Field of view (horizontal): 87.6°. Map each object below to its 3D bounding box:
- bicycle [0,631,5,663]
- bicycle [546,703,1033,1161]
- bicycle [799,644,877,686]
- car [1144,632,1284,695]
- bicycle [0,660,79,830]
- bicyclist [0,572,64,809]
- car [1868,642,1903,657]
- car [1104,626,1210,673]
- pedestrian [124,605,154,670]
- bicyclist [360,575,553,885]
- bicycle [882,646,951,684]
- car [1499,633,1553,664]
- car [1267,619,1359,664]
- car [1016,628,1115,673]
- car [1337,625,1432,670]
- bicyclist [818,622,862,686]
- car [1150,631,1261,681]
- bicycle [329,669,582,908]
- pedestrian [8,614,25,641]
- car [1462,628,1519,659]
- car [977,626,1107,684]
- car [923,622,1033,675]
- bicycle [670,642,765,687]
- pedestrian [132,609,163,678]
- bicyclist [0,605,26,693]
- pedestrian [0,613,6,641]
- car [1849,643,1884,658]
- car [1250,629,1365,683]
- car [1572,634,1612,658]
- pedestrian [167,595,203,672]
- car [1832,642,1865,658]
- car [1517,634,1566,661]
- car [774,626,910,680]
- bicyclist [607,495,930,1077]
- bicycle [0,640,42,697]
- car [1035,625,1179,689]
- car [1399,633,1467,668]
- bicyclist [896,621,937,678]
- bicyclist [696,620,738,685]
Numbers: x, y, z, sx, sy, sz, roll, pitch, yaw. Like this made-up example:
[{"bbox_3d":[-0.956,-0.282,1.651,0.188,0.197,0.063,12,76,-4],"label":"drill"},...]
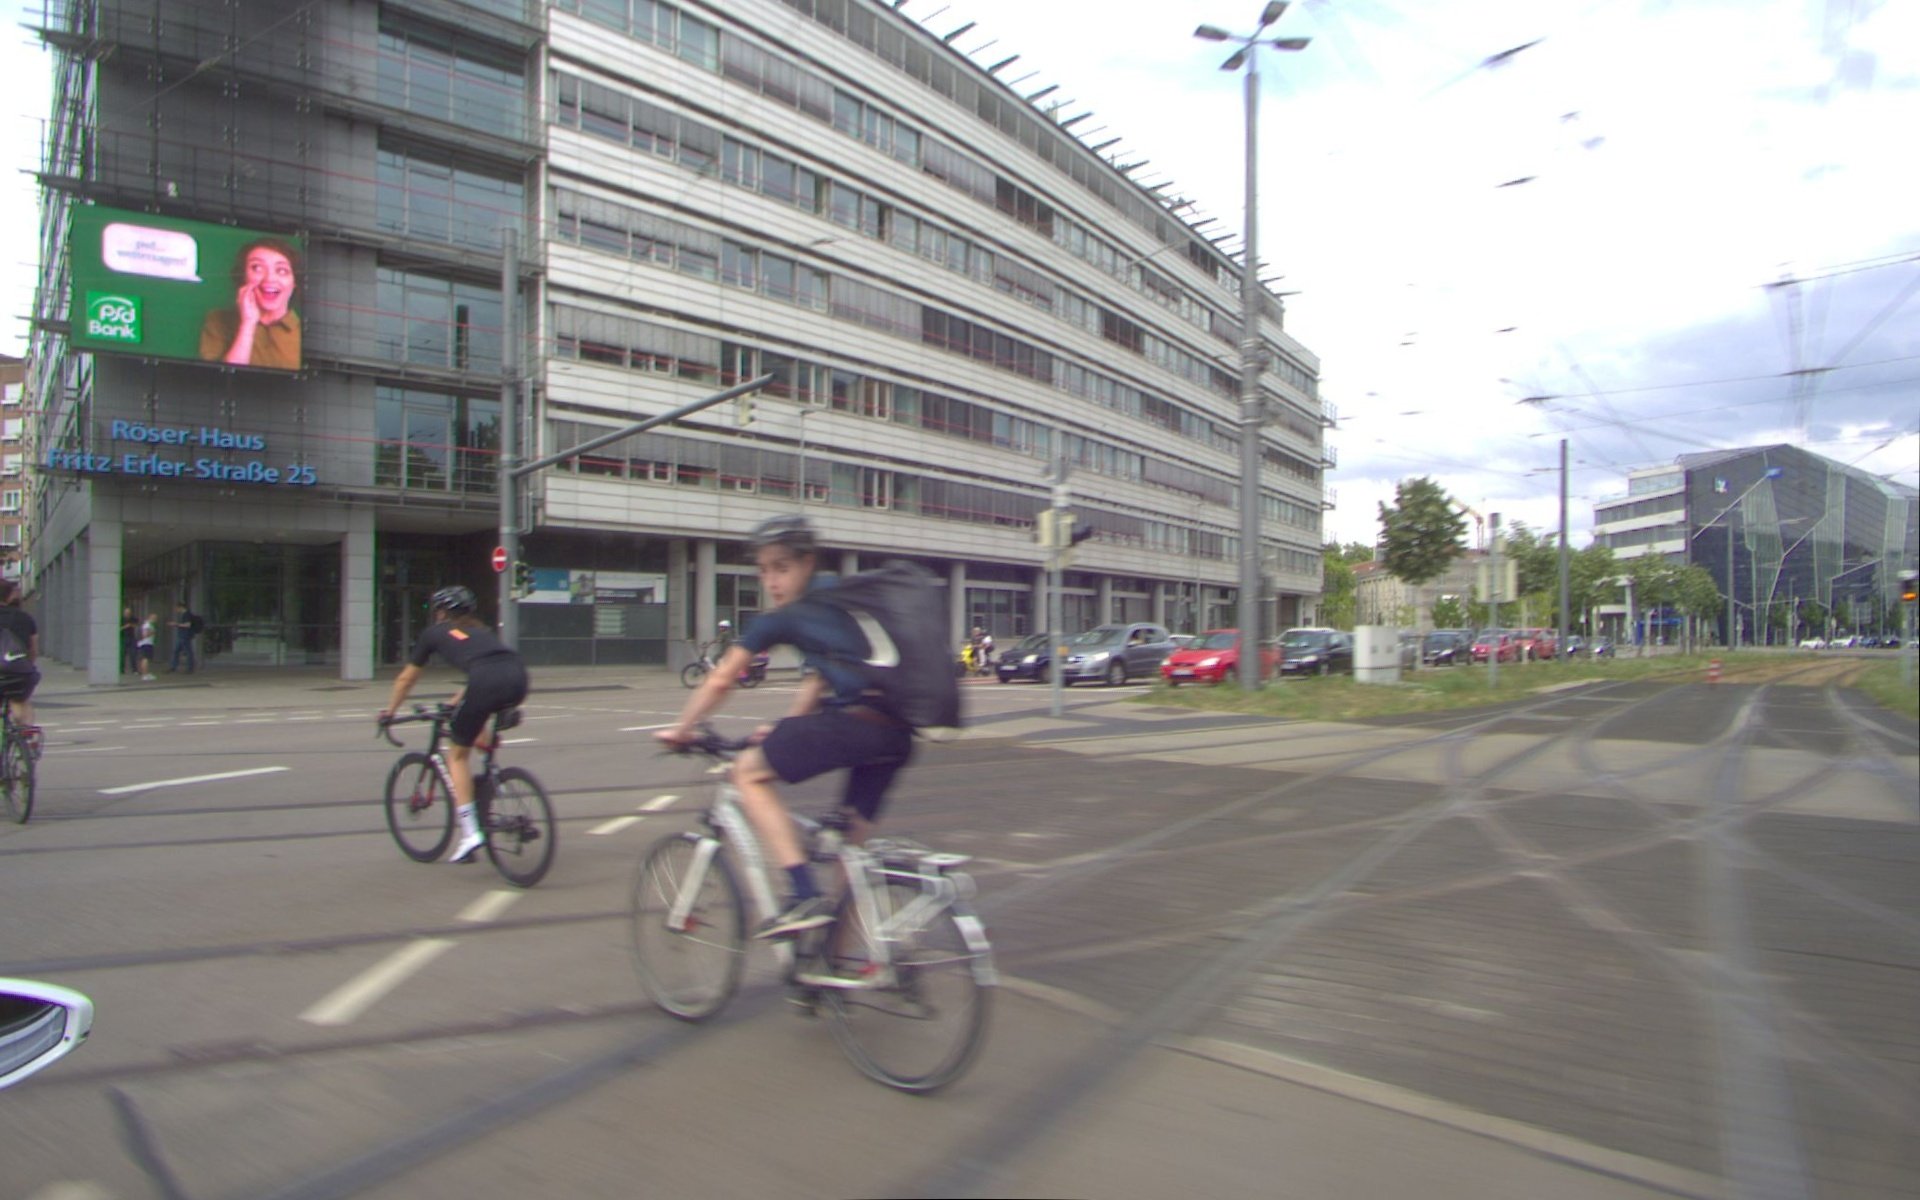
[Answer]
[{"bbox_3d":[-31.242,1.493,31.601,0.416,1.000,1.556,1,0,29],"label":"bicycle"},{"bbox_3d":[-0.682,1.022,3.612,1.833,1.153,0.592,0,0,35],"label":"bicycle"},{"bbox_3d":[-3.290,1.752,27.206,0.676,1.070,2.187,0,-2,44],"label":"bicycle"},{"bbox_3d":[6.477,1.557,25.310,1.803,1.451,3.968,-2,-3,42],"label":"car"},{"bbox_3d":[-7.755,1.100,7.997,2.062,1.153,0.592,0,0,35],"label":"bicycle"},{"bbox_3d":[-7.635,0.685,7.916,1.021,1.791,0.588,1,0,34],"label":"bicyclist"},{"bbox_3d":[114.134,6.065,123.473,4.105,1.772,1.990,2,-1,-30],"label":"car"},{"bbox_3d":[6.803,1.676,34.293,1.803,1.479,3.968,-2,-3,42],"label":"car"},{"bbox_3d":[-22.438,1.023,27.357,0.637,1.749,0.542,2,1,45],"label":"pedestrian"},{"bbox_3d":[-2.989,0.706,5.936,1.021,1.675,0.588,1,0,34],"label":"bicyclist"},{"bbox_3d":[-1.298,1.947,30.216,0.742,1.069,2.202,-3,-3,43],"label":"bicycle"},{"bbox_3d":[32.159,2.718,56.851,1.803,1.688,4.375,-2,-3,42],"label":"car"},{"bbox_3d":[12.949,1.515,36.632,1.803,1.552,3.968,-2,-3,42],"label":"car"},{"bbox_3d":[4.176,1.932,39.188,1.803,1.641,4.134,-1,-2,42],"label":"car"},{"bbox_3d":[14.503,1.597,34.096,1.803,1.451,3.968,-2,-3,42],"label":"car"},{"bbox_3d":[-3.262,1.469,27.248,0.668,1.687,0.972,-2,-3,44],"label":"bicyclist"},{"bbox_3d":[7.831,1.747,31.739,1.803,1.479,3.968,-2,-3,42],"label":"car"},{"bbox_3d":[-3.033,1.035,5.962,1.710,1.153,0.592,0,0,35],"label":"bicycle"},{"bbox_3d":[-53.934,1.570,57.236,0.705,1.576,0.791,1,0,-43],"label":"pedestrian"},{"bbox_3d":[28.149,2.298,53.060,1.803,1.552,3.968,-1,-2,42],"label":"car"},{"bbox_3d":[2.456,1.551,29.247,1.803,1.552,3.968,-1,-2,42],"label":"car"},{"bbox_3d":[0.695,1.701,36.043,1.803,1.784,3.968,-1,-2,42],"label":"car"},{"bbox_3d":[-6.464,1.720,26.808,2.393,1.153,0.661,-1,-2,-8],"label":"bicycle"},{"bbox_3d":[-20.883,1.109,25.737,0.549,1.749,0.492,1,1,-34],"label":"pedestrian"},{"bbox_3d":[-19.947,0.997,20.670,0.905,1.787,0.714,1,0,-39],"label":"bicyclist"},{"bbox_3d":[-54.402,1.504,56.716,0.508,1.576,0.468,1,0,-43],"label":"pedestrian"},{"bbox_3d":[109.465,6.122,120.850,4.105,1.772,1.990,2,-1,-30],"label":"car"},{"bbox_3d":[10.239,1.607,29.349,1.803,1.451,3.968,-2,-3,42],"label":"car"},{"bbox_3d":[43.390,3.144,68.681,1.690,1.552,3.968,-2,-3,42],"label":"car"},{"bbox_3d":[-21.159,0.910,27.335,0.667,2.041,0.599,4,2,40],"label":"pedestrian"},{"bbox_3d":[104.937,5.862,118.255,4.110,1.772,1.987,2,-1,-34],"label":"car"},{"bbox_3d":[35.468,2.883,61.024,1.803,1.552,3.968,-2,-3,42],"label":"car"},{"bbox_3d":[-3.547,1.581,30.676,1.802,1.552,3.968,-1,-2,41],"label":"car"},{"bbox_3d":[-0.700,0.579,3.621,1.021,1.794,0.588,1,0,34],"label":"bicyclist"},{"bbox_3d":[-20.135,1.401,20.529,1.883,1.153,0.720,1,0,-39],"label":"bicycle"},{"bbox_3d":[3.959,1.466,26.498,1.803,1.552,4.186,-2,-3,42],"label":"car"},{"bbox_3d":[21.704,2.277,45.866,1.803,1.552,3.968,-1,-2,42],"label":"car"},{"bbox_3d":[-1.310,1.506,30.232,0.737,1.687,0.972,-2,-3,44],"label":"bicyclist"},{"bbox_3d":[-6.497,1.405,26.816,1.015,1.695,0.660,-1,-2,-8],"label":"bicyclist"}]
